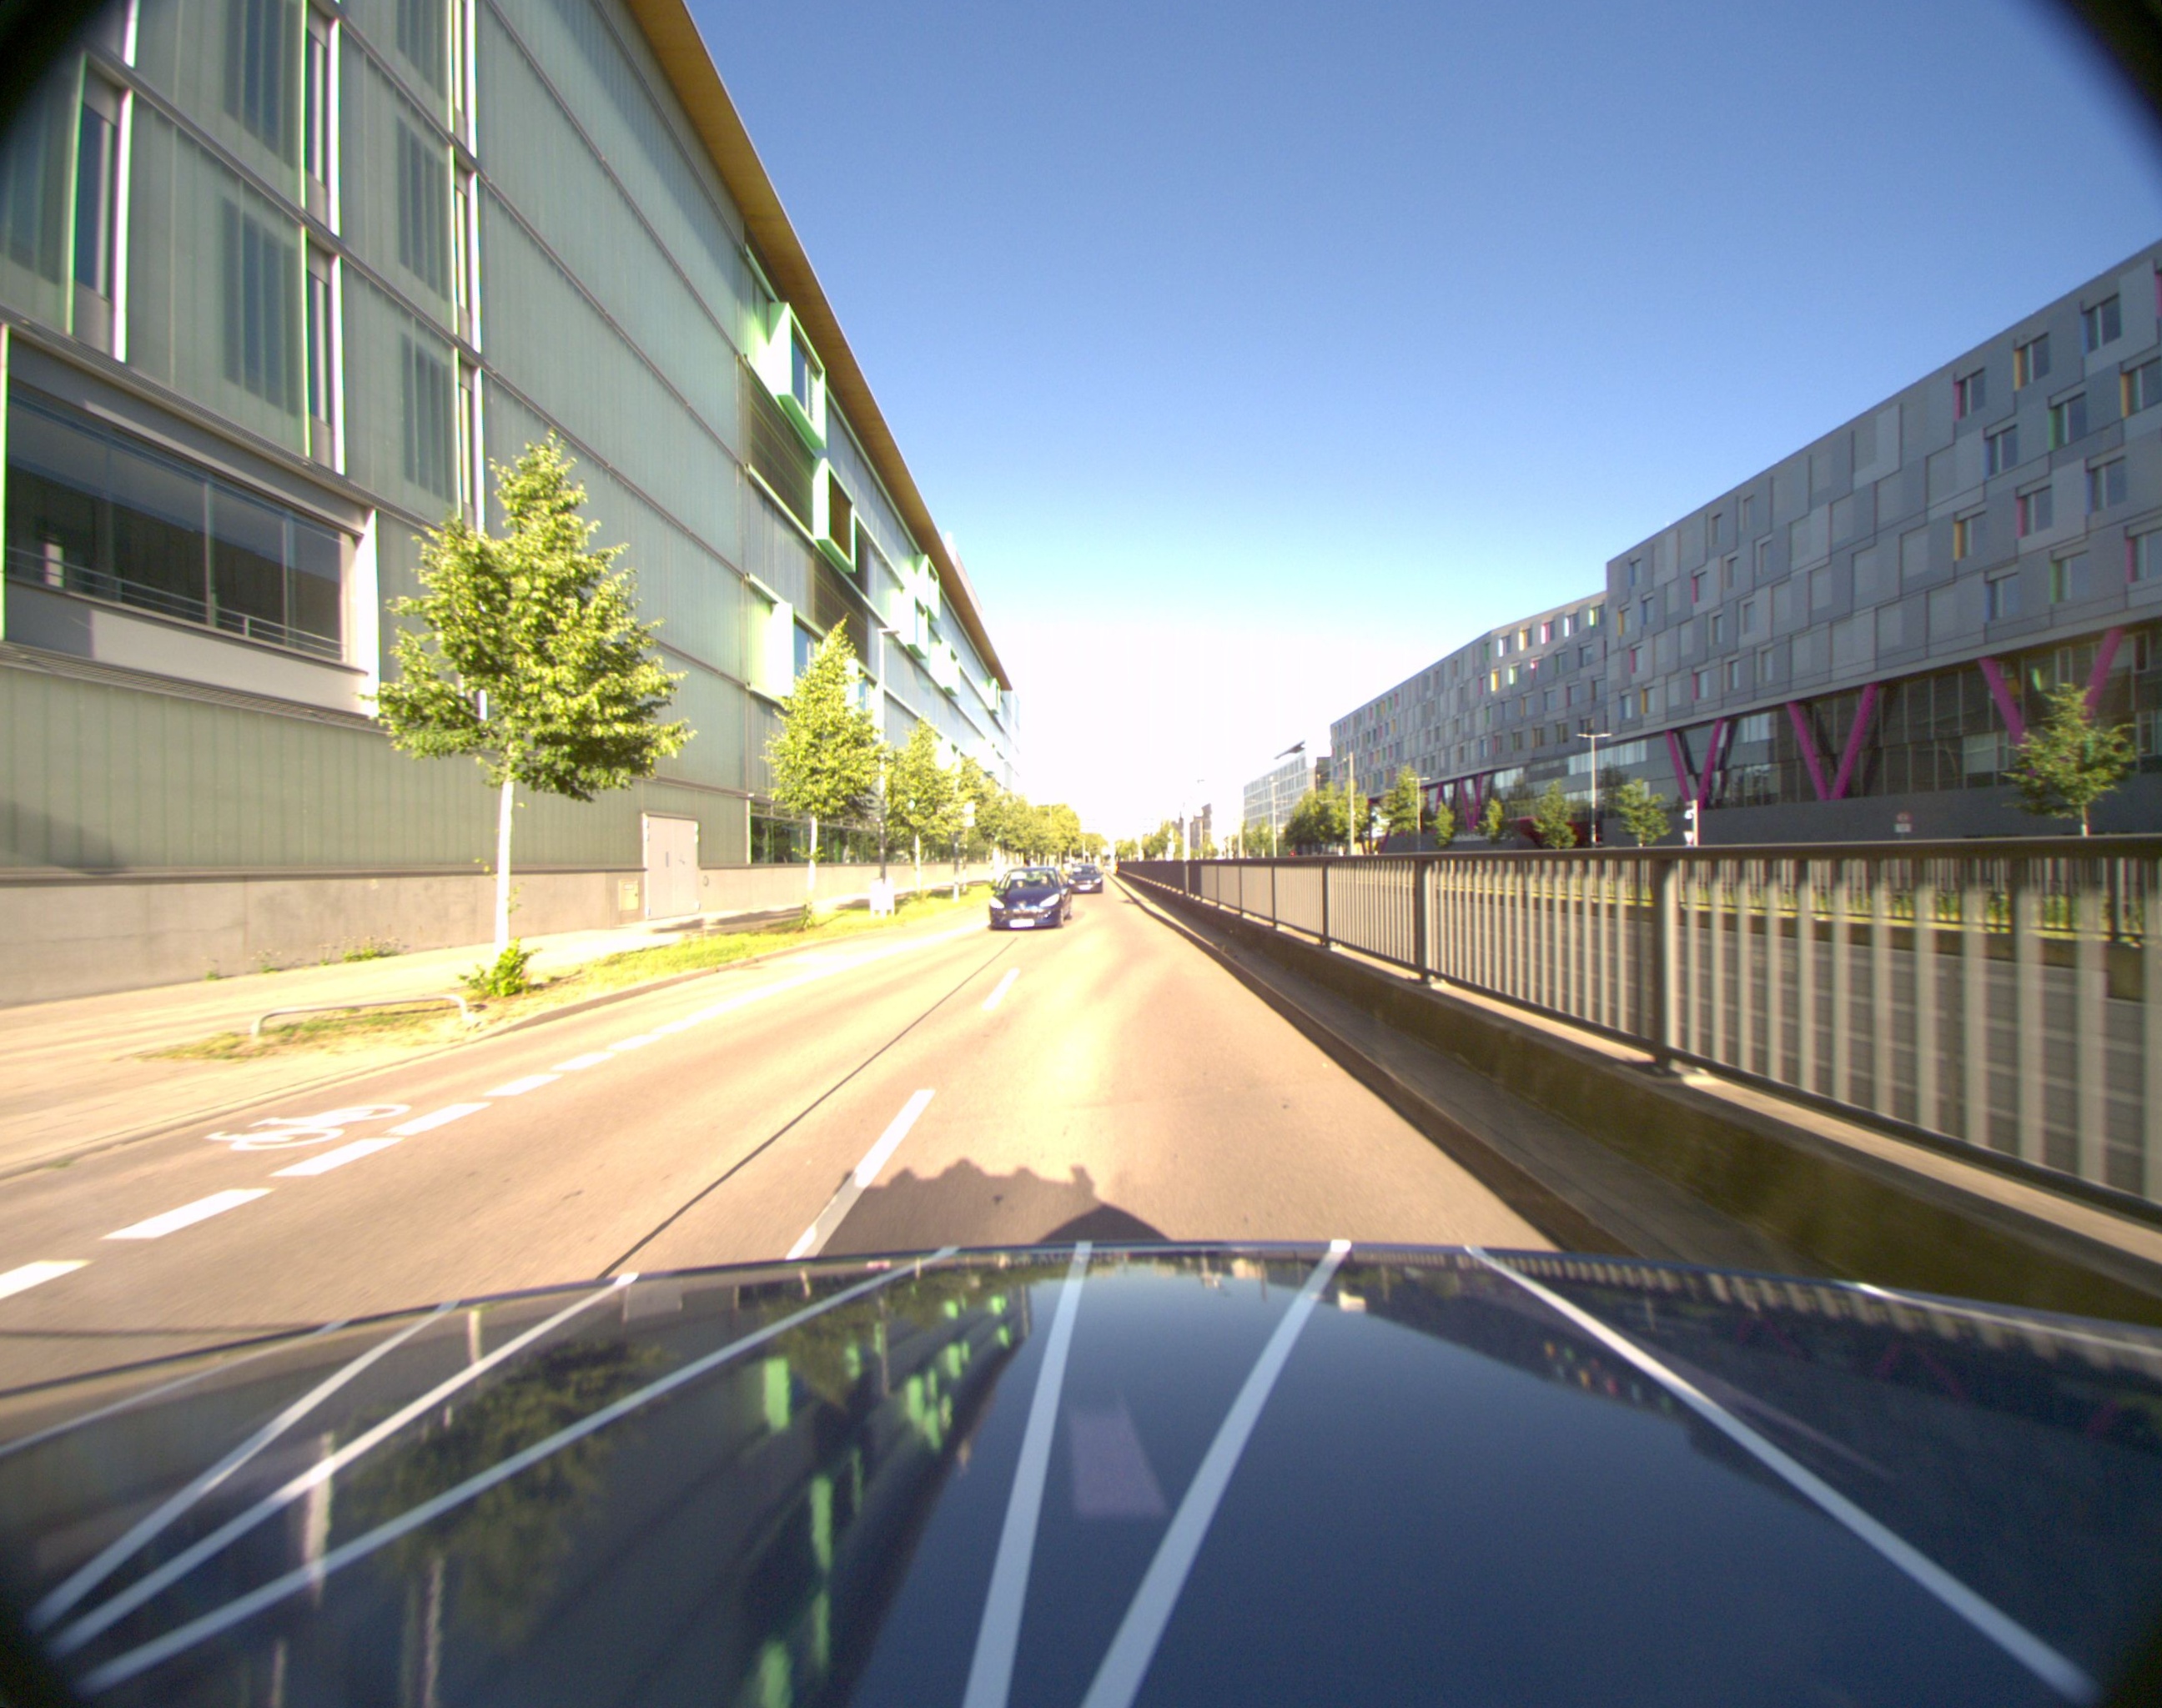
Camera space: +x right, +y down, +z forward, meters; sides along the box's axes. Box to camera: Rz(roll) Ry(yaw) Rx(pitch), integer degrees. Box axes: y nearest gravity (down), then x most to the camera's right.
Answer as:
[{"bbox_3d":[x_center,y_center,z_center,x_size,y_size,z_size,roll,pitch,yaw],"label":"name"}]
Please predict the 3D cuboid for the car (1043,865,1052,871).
[{"bbox_3d":[-8.704,3.574,197.530,1.898,1.479,4.349,-2,-1,6],"label":"car"}]

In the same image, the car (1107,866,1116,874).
[{"bbox_3d":[7.102,3.744,177.000,1.998,1.542,4.001,-4,-1,2],"label":"car"}]

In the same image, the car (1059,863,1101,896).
[{"bbox_3d":[0.002,1.247,38.992,1.802,1.517,4.607,-3,-1,3],"label":"car"}]

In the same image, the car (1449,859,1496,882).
[{"bbox_3d":[33.052,1.385,64.235,1.998,1.828,4.000,0,0,1],"label":"car"}]

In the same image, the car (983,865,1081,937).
[{"bbox_3d":[-1.122,1.109,19.583,1.802,1.517,4.607,-3,-1,5],"label":"car"}]
